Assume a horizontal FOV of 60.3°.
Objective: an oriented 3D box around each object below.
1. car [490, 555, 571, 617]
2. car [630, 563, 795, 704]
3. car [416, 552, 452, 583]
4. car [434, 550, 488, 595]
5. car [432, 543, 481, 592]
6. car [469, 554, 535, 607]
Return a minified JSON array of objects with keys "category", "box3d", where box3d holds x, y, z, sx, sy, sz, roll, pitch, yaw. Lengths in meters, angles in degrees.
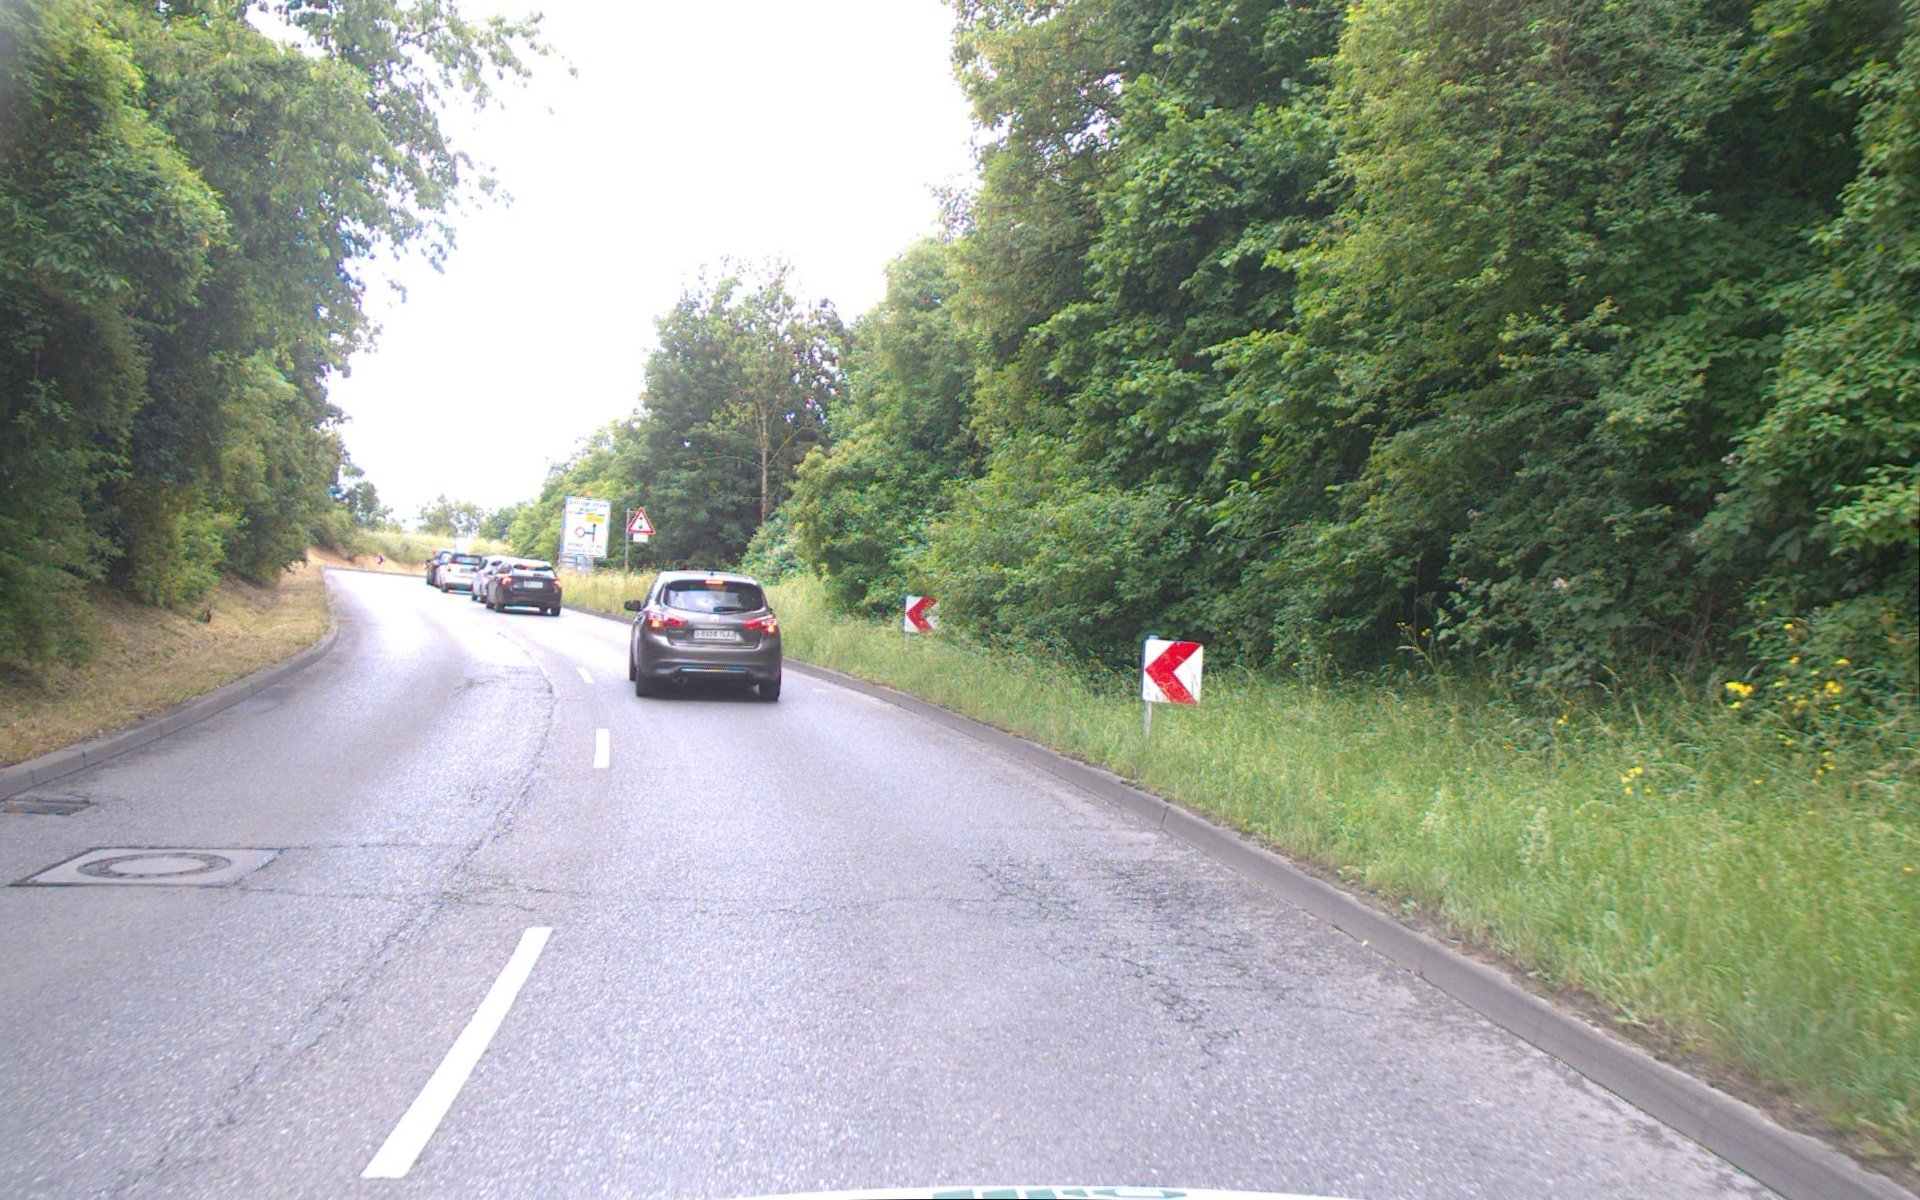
[{"category":"car","box3d":[-12.044,-0.425,46.259,1.804,1.583,3.603,2,1,-21]},{"category":"car","box3d":[-3.243,0.365,21.141,1.798,1.583,3.488,2,1,-13]},{"category":"car","box3d":[-28.007,-1.753,88.175,1.708,1.553,3.625,2,1,-17]},{"category":"car","box3d":[-19.007,-1.069,62.942,1.711,1.583,3.522,2,1,-21]},{"category":"car","box3d":[-21.303,-1.382,69.884,1.711,1.968,3.522,2,1,-21]},{"category":"car","box3d":[-14.847,-0.653,53.543,1.711,1.583,3.522,2,1,-21]}]
